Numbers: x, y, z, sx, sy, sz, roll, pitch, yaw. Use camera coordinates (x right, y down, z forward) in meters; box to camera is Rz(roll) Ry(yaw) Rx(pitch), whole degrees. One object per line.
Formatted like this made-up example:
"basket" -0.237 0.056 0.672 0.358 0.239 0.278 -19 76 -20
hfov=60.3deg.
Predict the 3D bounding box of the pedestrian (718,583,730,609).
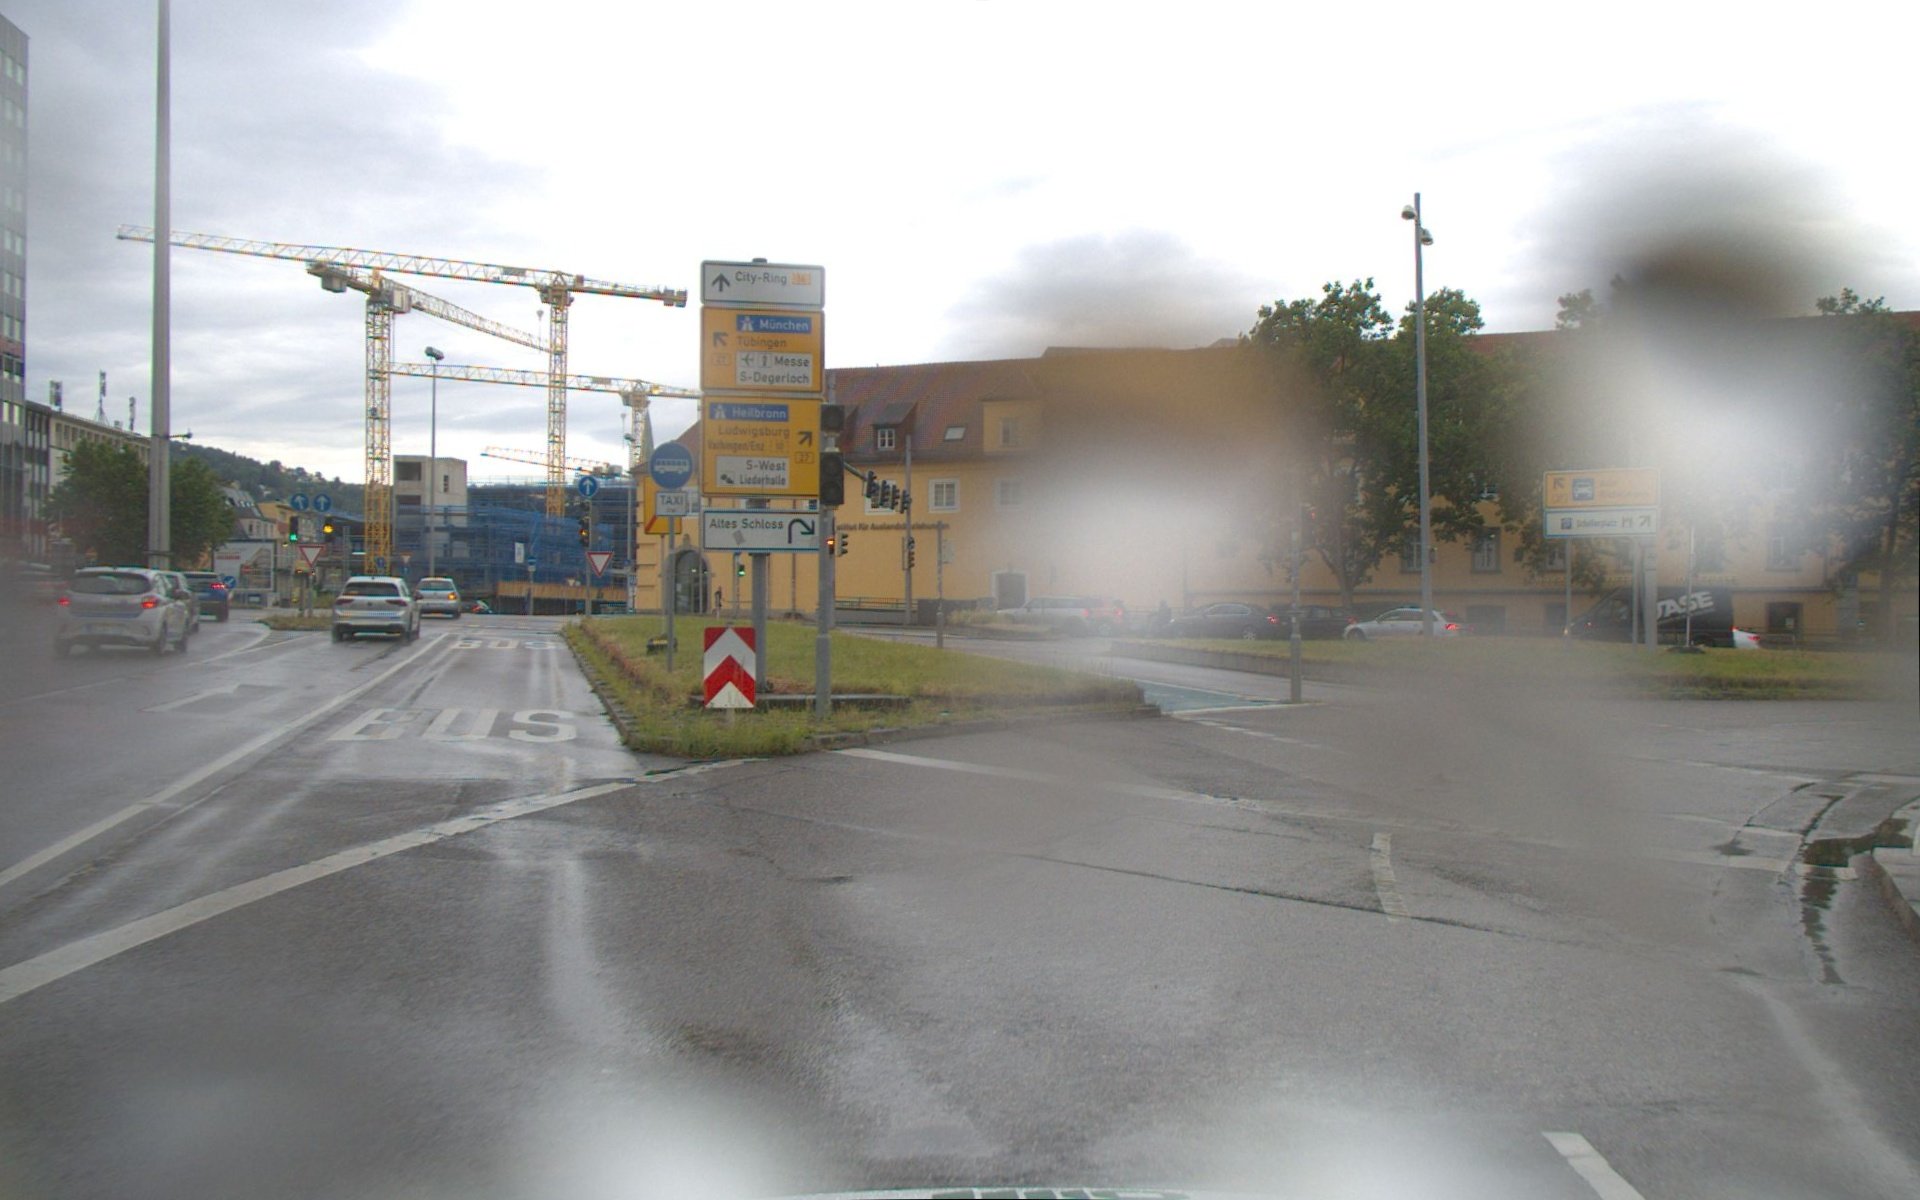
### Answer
"pedestrian" -12.825 -0.211 89.912 0.446 1.392 0.443 0 -2 26

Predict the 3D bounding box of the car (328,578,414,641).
"car" -13.611 0.231 38.331 1.418 1.383 2.406 1 -1 -9

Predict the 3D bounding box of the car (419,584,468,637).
"car" -19.113 0.355 61.117 1.642 1.772 3.271 2 2 -18

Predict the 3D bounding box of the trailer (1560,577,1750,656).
"trailer" 21.926 0.558 52.428 5.345 2.297 2.000 -2 -3 19

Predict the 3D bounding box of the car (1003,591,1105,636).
"car" 3.358 0.496 58.682 3.329 1.508 1.836 1 -1 13

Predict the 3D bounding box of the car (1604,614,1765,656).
"car" 25.863 1.238 59.189 5.177 1.385 1.557 1 -1 21

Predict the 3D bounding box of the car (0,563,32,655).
"car" -18.967 0.161 31.491 1.439 1.736 3.129 1 -1 -14

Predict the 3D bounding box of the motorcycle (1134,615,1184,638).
"motorcycle" 7.991 1.074 66.412 1.922 0.867 0.546 1 -1 10

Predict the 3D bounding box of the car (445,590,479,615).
"car" -29.655 0.150 98.594 1.685 1.389 3.058 1 -1 -12

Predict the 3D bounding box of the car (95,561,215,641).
"car" -18.908 0.061 38.992 1.686 1.758 3.483 1 -1 -12

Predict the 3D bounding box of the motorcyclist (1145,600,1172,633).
"motorcyclist" 7.964 0.668 66.334 1.052 1.295 0.692 1 -1 9

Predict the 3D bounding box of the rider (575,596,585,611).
"rider" -27.009 0.272 117.512 0.607 1.057 0.532 1 -1 -10

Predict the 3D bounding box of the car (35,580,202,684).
"car" -14.564 0.558 28.802 1.849 1.682 3.444 1 -1 -15

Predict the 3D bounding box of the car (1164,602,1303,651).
"car" 10.185 0.988 61.608 4.713 1.739 1.996 0 -1 31

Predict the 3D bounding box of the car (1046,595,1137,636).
"car" 5.114 0.598 64.181 3.326 1.498 1.654 1 -1 12

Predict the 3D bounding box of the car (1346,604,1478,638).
"car" 15.940 0.732 58.470 1.530 1.160 4.306 2 -2 -45

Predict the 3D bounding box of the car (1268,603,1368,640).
"car" 13.909 0.836 64.240 3.523 1.360 1.577 1 -1 24

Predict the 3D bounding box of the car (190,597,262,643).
"car" -23.377 0.649 52.751 1.467 1.393 3.023 1 -1 -12
